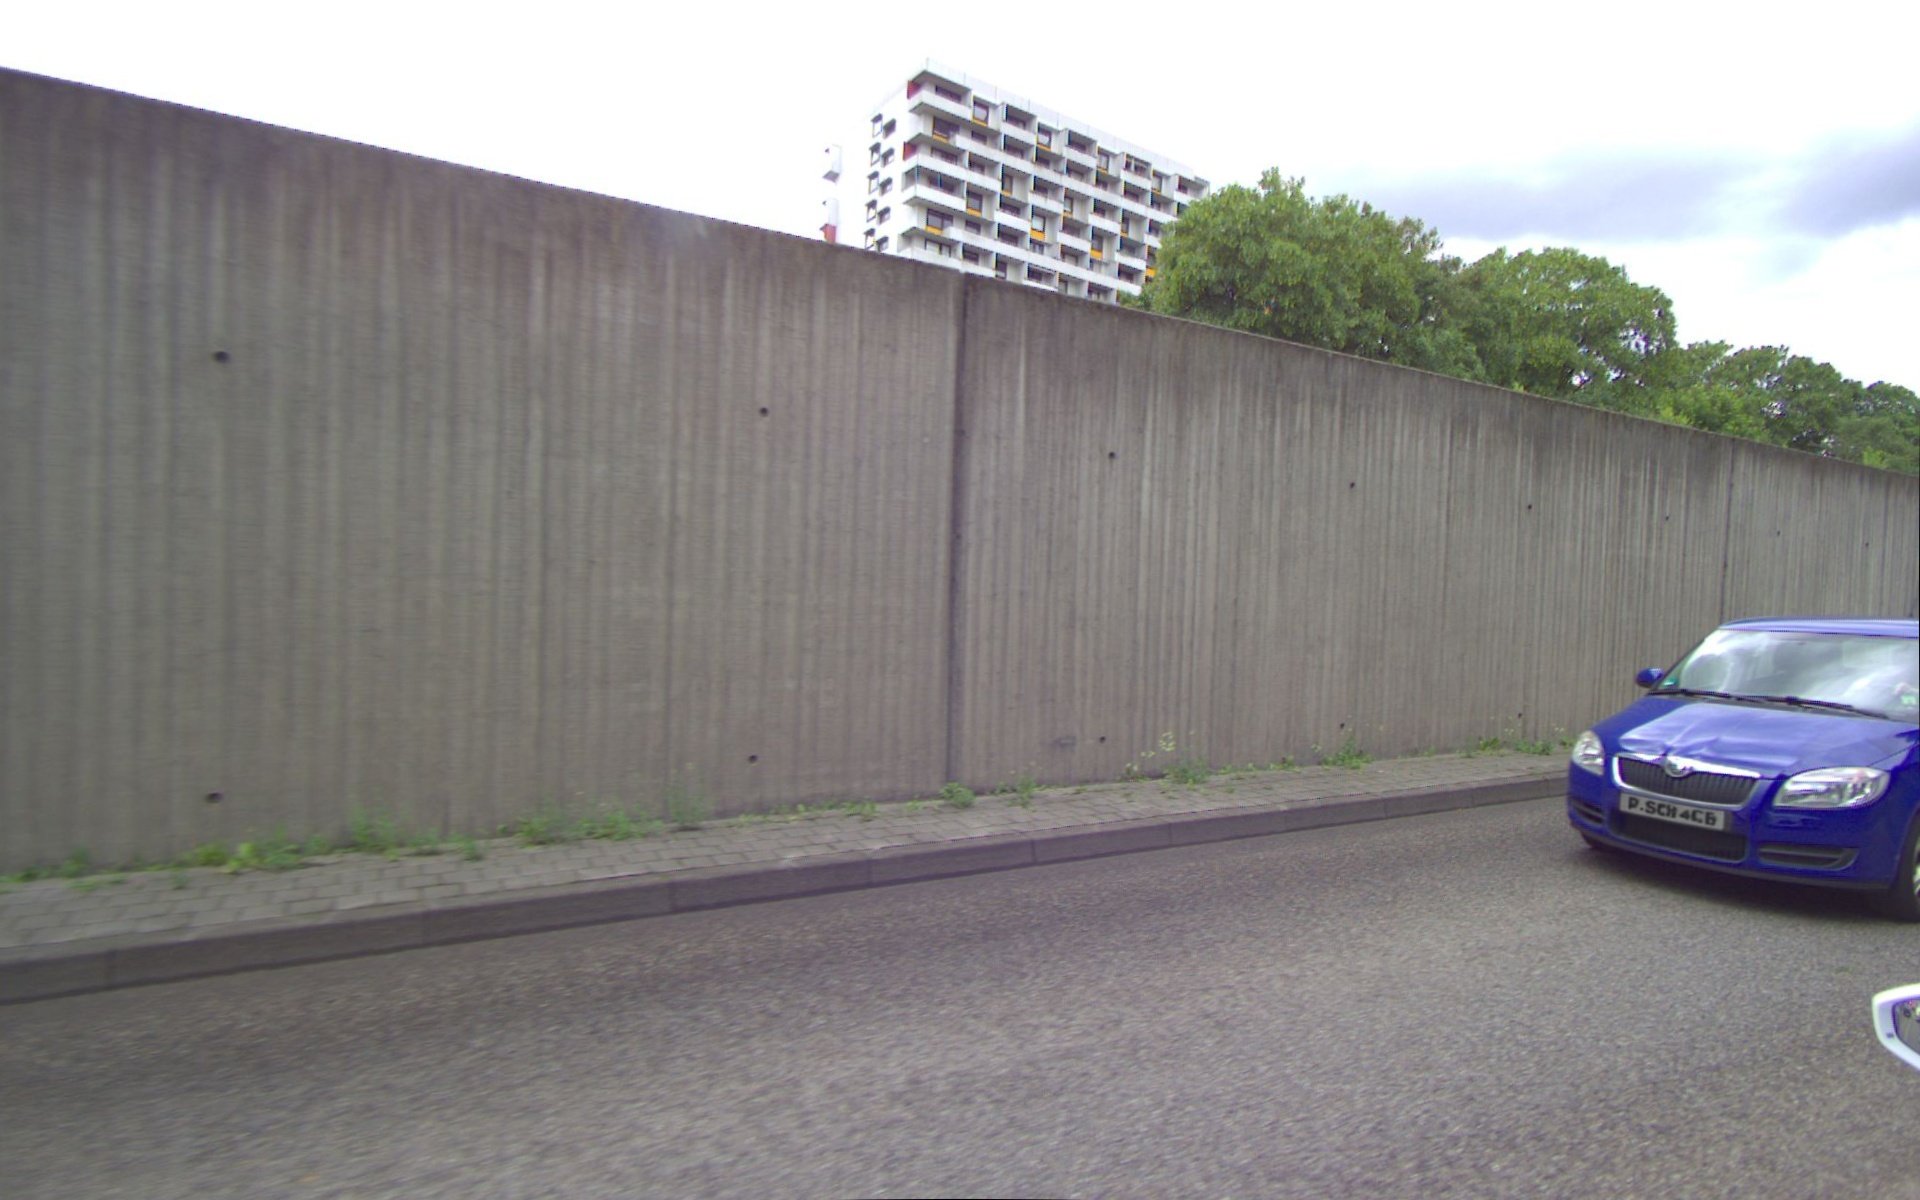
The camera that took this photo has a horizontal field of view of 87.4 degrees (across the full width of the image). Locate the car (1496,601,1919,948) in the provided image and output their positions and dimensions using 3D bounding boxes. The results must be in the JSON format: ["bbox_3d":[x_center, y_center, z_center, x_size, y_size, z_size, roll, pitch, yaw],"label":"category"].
[{"bbox_3d":[5.443,0.815,6.321,4.160,1.516,1.758,1,1,-31],"label":"car"}]
